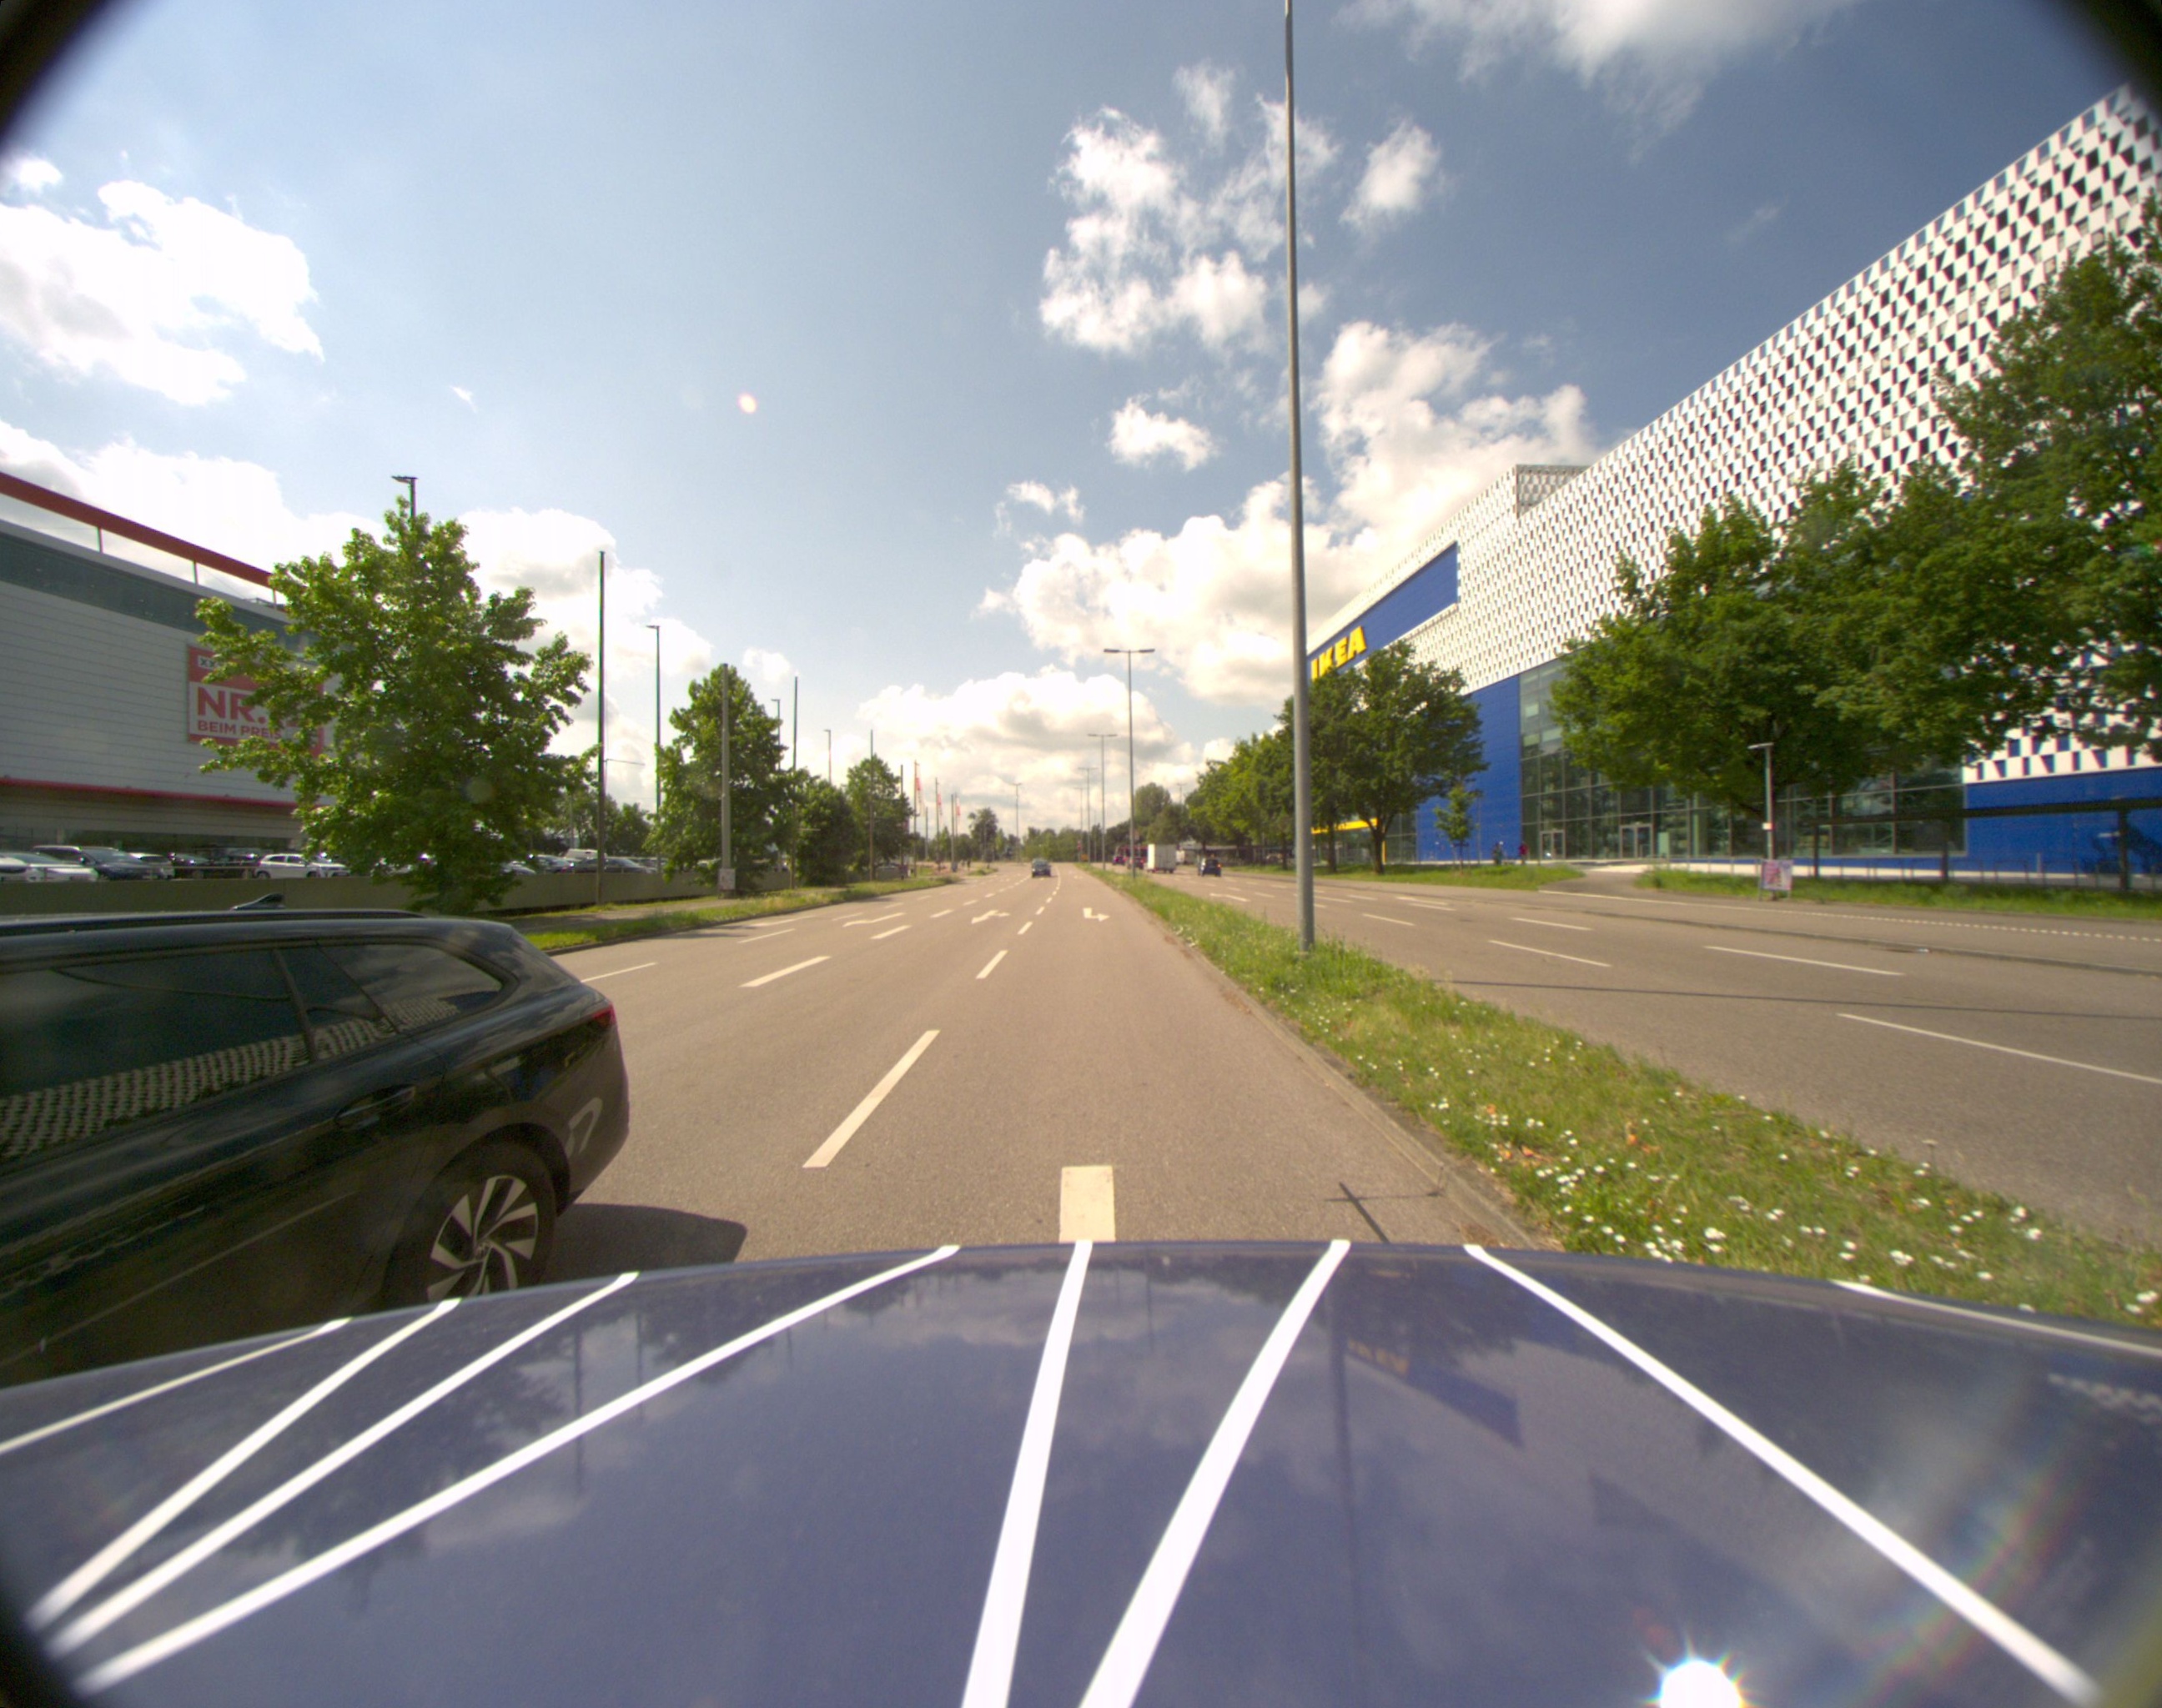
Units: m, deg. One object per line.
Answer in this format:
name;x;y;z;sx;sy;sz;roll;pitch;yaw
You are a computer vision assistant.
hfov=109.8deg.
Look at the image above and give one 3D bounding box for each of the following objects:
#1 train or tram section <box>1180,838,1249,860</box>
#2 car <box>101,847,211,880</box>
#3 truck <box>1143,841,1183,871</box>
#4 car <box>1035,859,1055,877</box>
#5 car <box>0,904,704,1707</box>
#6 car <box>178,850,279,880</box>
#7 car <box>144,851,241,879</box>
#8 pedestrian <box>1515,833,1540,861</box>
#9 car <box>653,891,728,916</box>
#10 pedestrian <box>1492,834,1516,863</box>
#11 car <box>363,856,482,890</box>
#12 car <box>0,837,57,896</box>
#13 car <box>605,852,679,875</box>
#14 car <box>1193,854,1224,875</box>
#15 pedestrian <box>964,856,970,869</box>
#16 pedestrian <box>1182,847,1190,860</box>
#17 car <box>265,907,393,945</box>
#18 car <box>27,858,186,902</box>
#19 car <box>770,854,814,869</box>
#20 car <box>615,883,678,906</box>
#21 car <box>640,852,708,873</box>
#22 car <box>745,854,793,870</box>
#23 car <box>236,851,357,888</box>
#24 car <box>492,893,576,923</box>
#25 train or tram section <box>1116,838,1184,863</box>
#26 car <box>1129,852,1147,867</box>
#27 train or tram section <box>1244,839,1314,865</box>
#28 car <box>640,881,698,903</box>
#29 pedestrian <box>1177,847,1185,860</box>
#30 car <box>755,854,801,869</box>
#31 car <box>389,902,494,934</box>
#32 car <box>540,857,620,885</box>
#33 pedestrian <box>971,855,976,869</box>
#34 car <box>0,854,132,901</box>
train or tram section;26.911;-0.997;153.581;13.099;4.346;3.731;0;1;-2
car;-48.792;0.493;40.106;4.415;1.596;1.957;-2;0;14
truck;8.020;0.182;74.945;2.972;2.736;5.782;-2;1;-2
car;-3.232;1.217;68.600;1.606;1.521;4.270;-1;0;0
car;-2.805;1.013;1.158;1.813;1.469;5.204;-2;0;0
car;-49.935;0.643;44.540;4.416;1.596;1.956;-2;0;11
car;-54.959;0.653;47.018;4.416;1.596;1.956;-2;0;11
pedestrian;27.785;-0.434;47.254;0.854;1.718;1.165;-2;1;3
car;-28.307;3.593;55.187;4.420;1.596;1.955;-2;0;-1
pedestrian;26.366;-0.342;47.420;0.854;1.718;1.165;-2;1;3
car;-34.262;0.945;39.611;4.420;1.596;1.955;-2;0;-1
car;-34.586;0.460;23.290;3.997;1.783;1.749;-2;1;1
car;-33.276;0.706;57.634;4.420;1.596;1.955;-2;0;-1
car;10.900;0.857;65.090;1.941;1.674;4.000;-2;1;1
pedestrian;-15.451;1.150;102.701;0.704;1.803;0.545;-2;1;-9
pedestrian;17.416;-0.104;126.141;0.817;2.082;1.041;-1;2;42
car;-37.133;3.544;37.600;4.419;1.596;1.955;-2;0;3
car;-39.353;1.017;30.738;4.417;1.596;1.956;-2;0;8
car;-34.601;0.896;91.092;4.420;1.596;1.955;-2;0;-1
car;-37.914;3.534;66.377;4.421;1.754;1.559;-2;1;-3
car;-33.411;0.658;62.432;4.420;1.596;1.955;-2;0;-1
car;-34.101;0.825;83.052;4.420;1.596;1.955;-2;0;-1
car;-40.931;0.788;39.708;4.421;1.754;1.559;-2;1;-3
car;-37.405;3.674;52.012;4.421;1.754;1.559;-2;1;-3
train or tram section;13.827;-0.747;153.147;13.098;4.534;3.731;-2;1;-2
car;7.058;0.675;94.671;1.941;1.674;4.000;-2;1;1
train or tram section;40.064;-0.483;153.974;13.098;4.646;3.731;-2;1;-2
car;-38.074;3.539;70.285;4.421;1.754;1.559;-2;1;-3
pedestrian;16.680;-0.082;126.751;0.817;2.082;1.041;-1;2;42
car;-34.445;0.869;86.519;4.420;1.596;1.955;-2;0;-1
car;-37.544;3.755;44.720;4.421;1.596;1.954;-2;0;-2
car;-32.748;1.098;49.740;3.996;1.595;1.778;-2;1;2
pedestrian;-14.555;1.086;103.006;0.527;1.803;0.677;-2;1;-9
car;-38.533;0.879;28.287;4.417;1.596;1.956;-2;0;8
